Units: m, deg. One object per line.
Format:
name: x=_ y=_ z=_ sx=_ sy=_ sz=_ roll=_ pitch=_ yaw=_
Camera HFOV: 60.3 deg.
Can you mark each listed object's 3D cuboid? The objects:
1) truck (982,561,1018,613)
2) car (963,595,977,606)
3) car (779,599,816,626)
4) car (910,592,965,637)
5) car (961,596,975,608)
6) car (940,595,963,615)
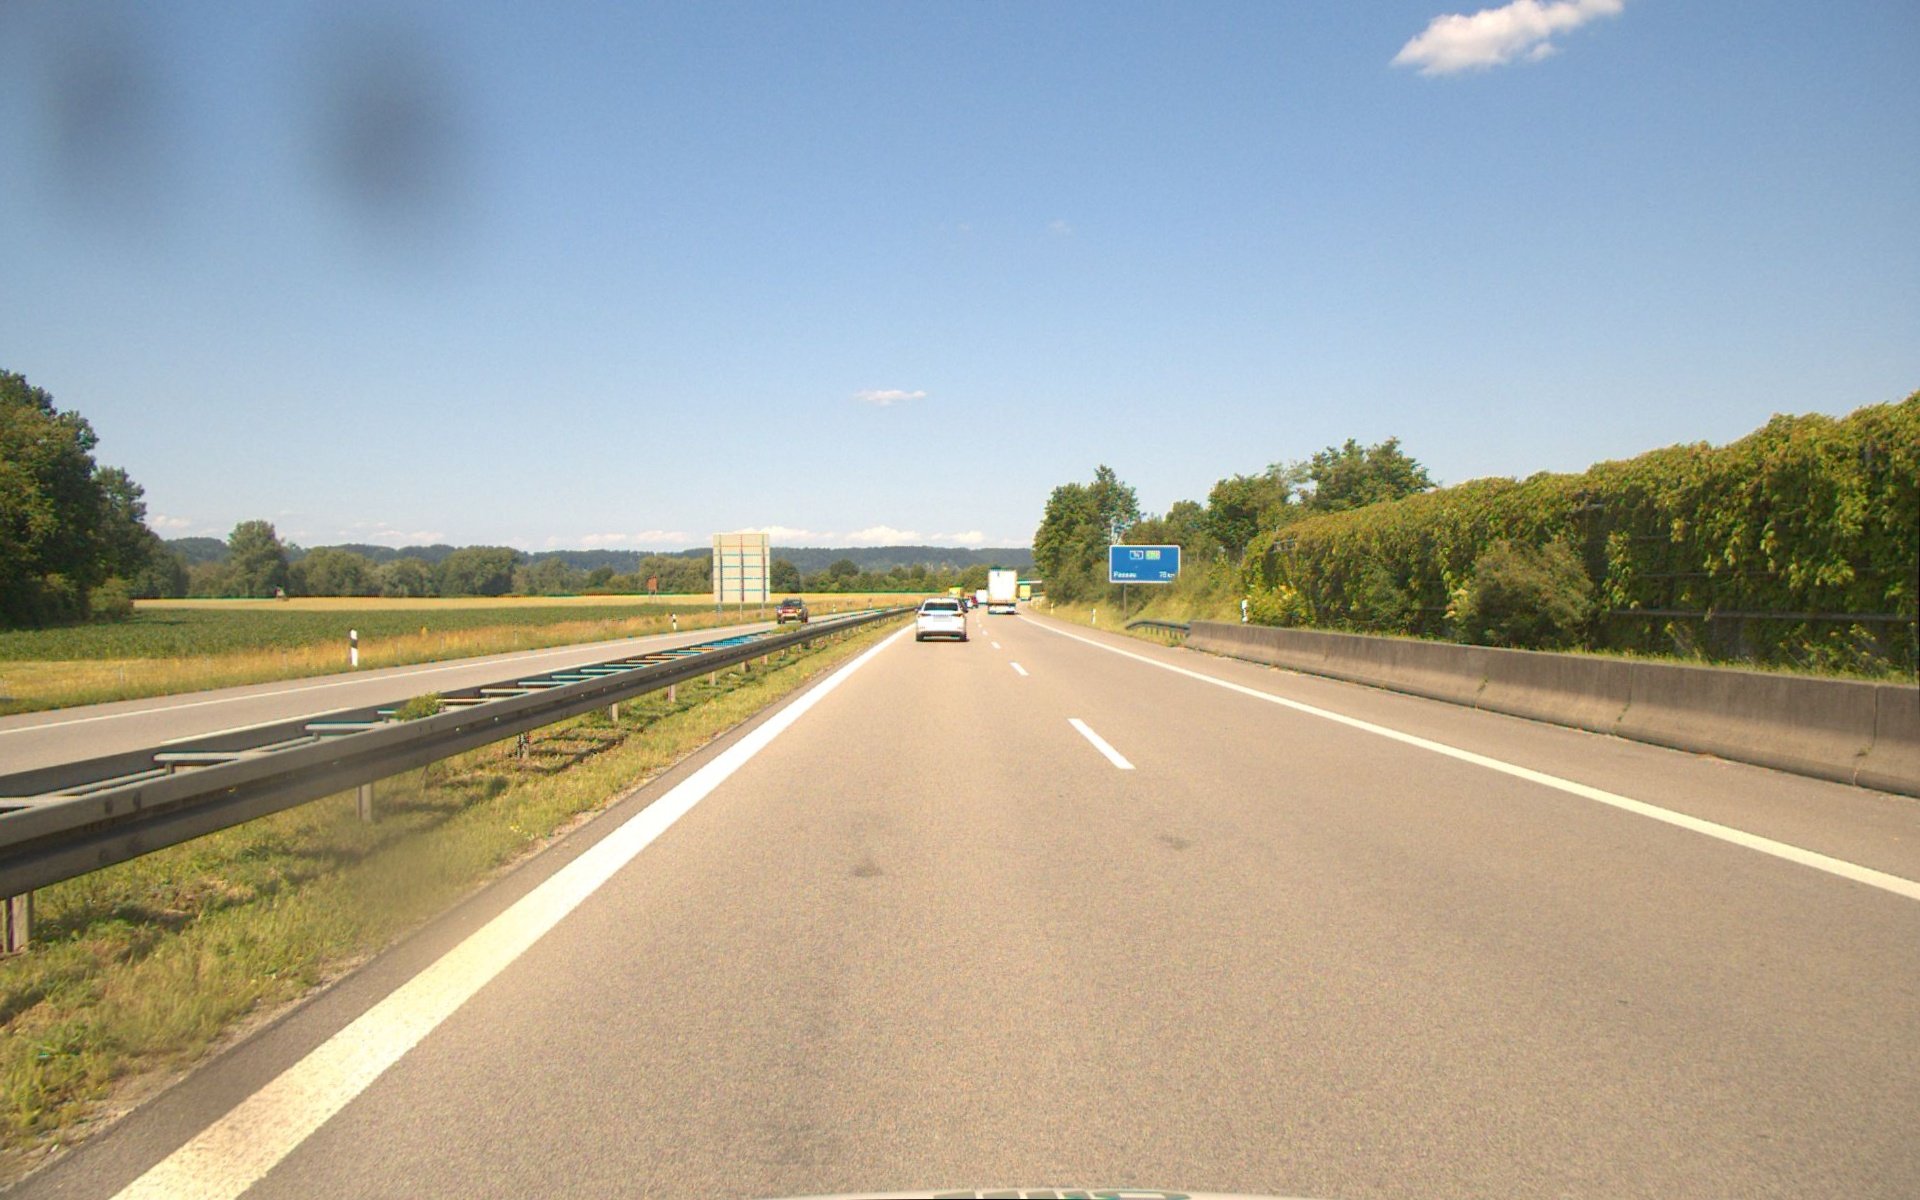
truck: x=3.680 y=-1.171 z=153.894 sx=3.088 sy=4.693 sz=8.904 roll=-1 pitch=0 yaw=-1
car: x=1.414 y=0.041 z=226.802 sx=1.734 sy=1.446 sz=4.366 roll=1 pitch=0 yaw=2
car: x=-11.017 y=0.817 z=112.438 sx=1.953 sy=1.690 sz=4.775 roll=-2 pitch=0 yaw=0
car: x=-0.775 y=0.479 z=58.142 sx=1.803 sy=1.446 sz=5.254 roll=1 pitch=0 yaw=-1
car: x=1.029 y=0.226 z=207.665 sx=1.734 sy=1.446 sz=4.365 roll=1 pitch=0 yaw=1
car: x=-0.647 y=0.384 z=126.395 sx=1.735 sy=1.446 sz=4.494 roll=1 pitch=0 yaw=-1
